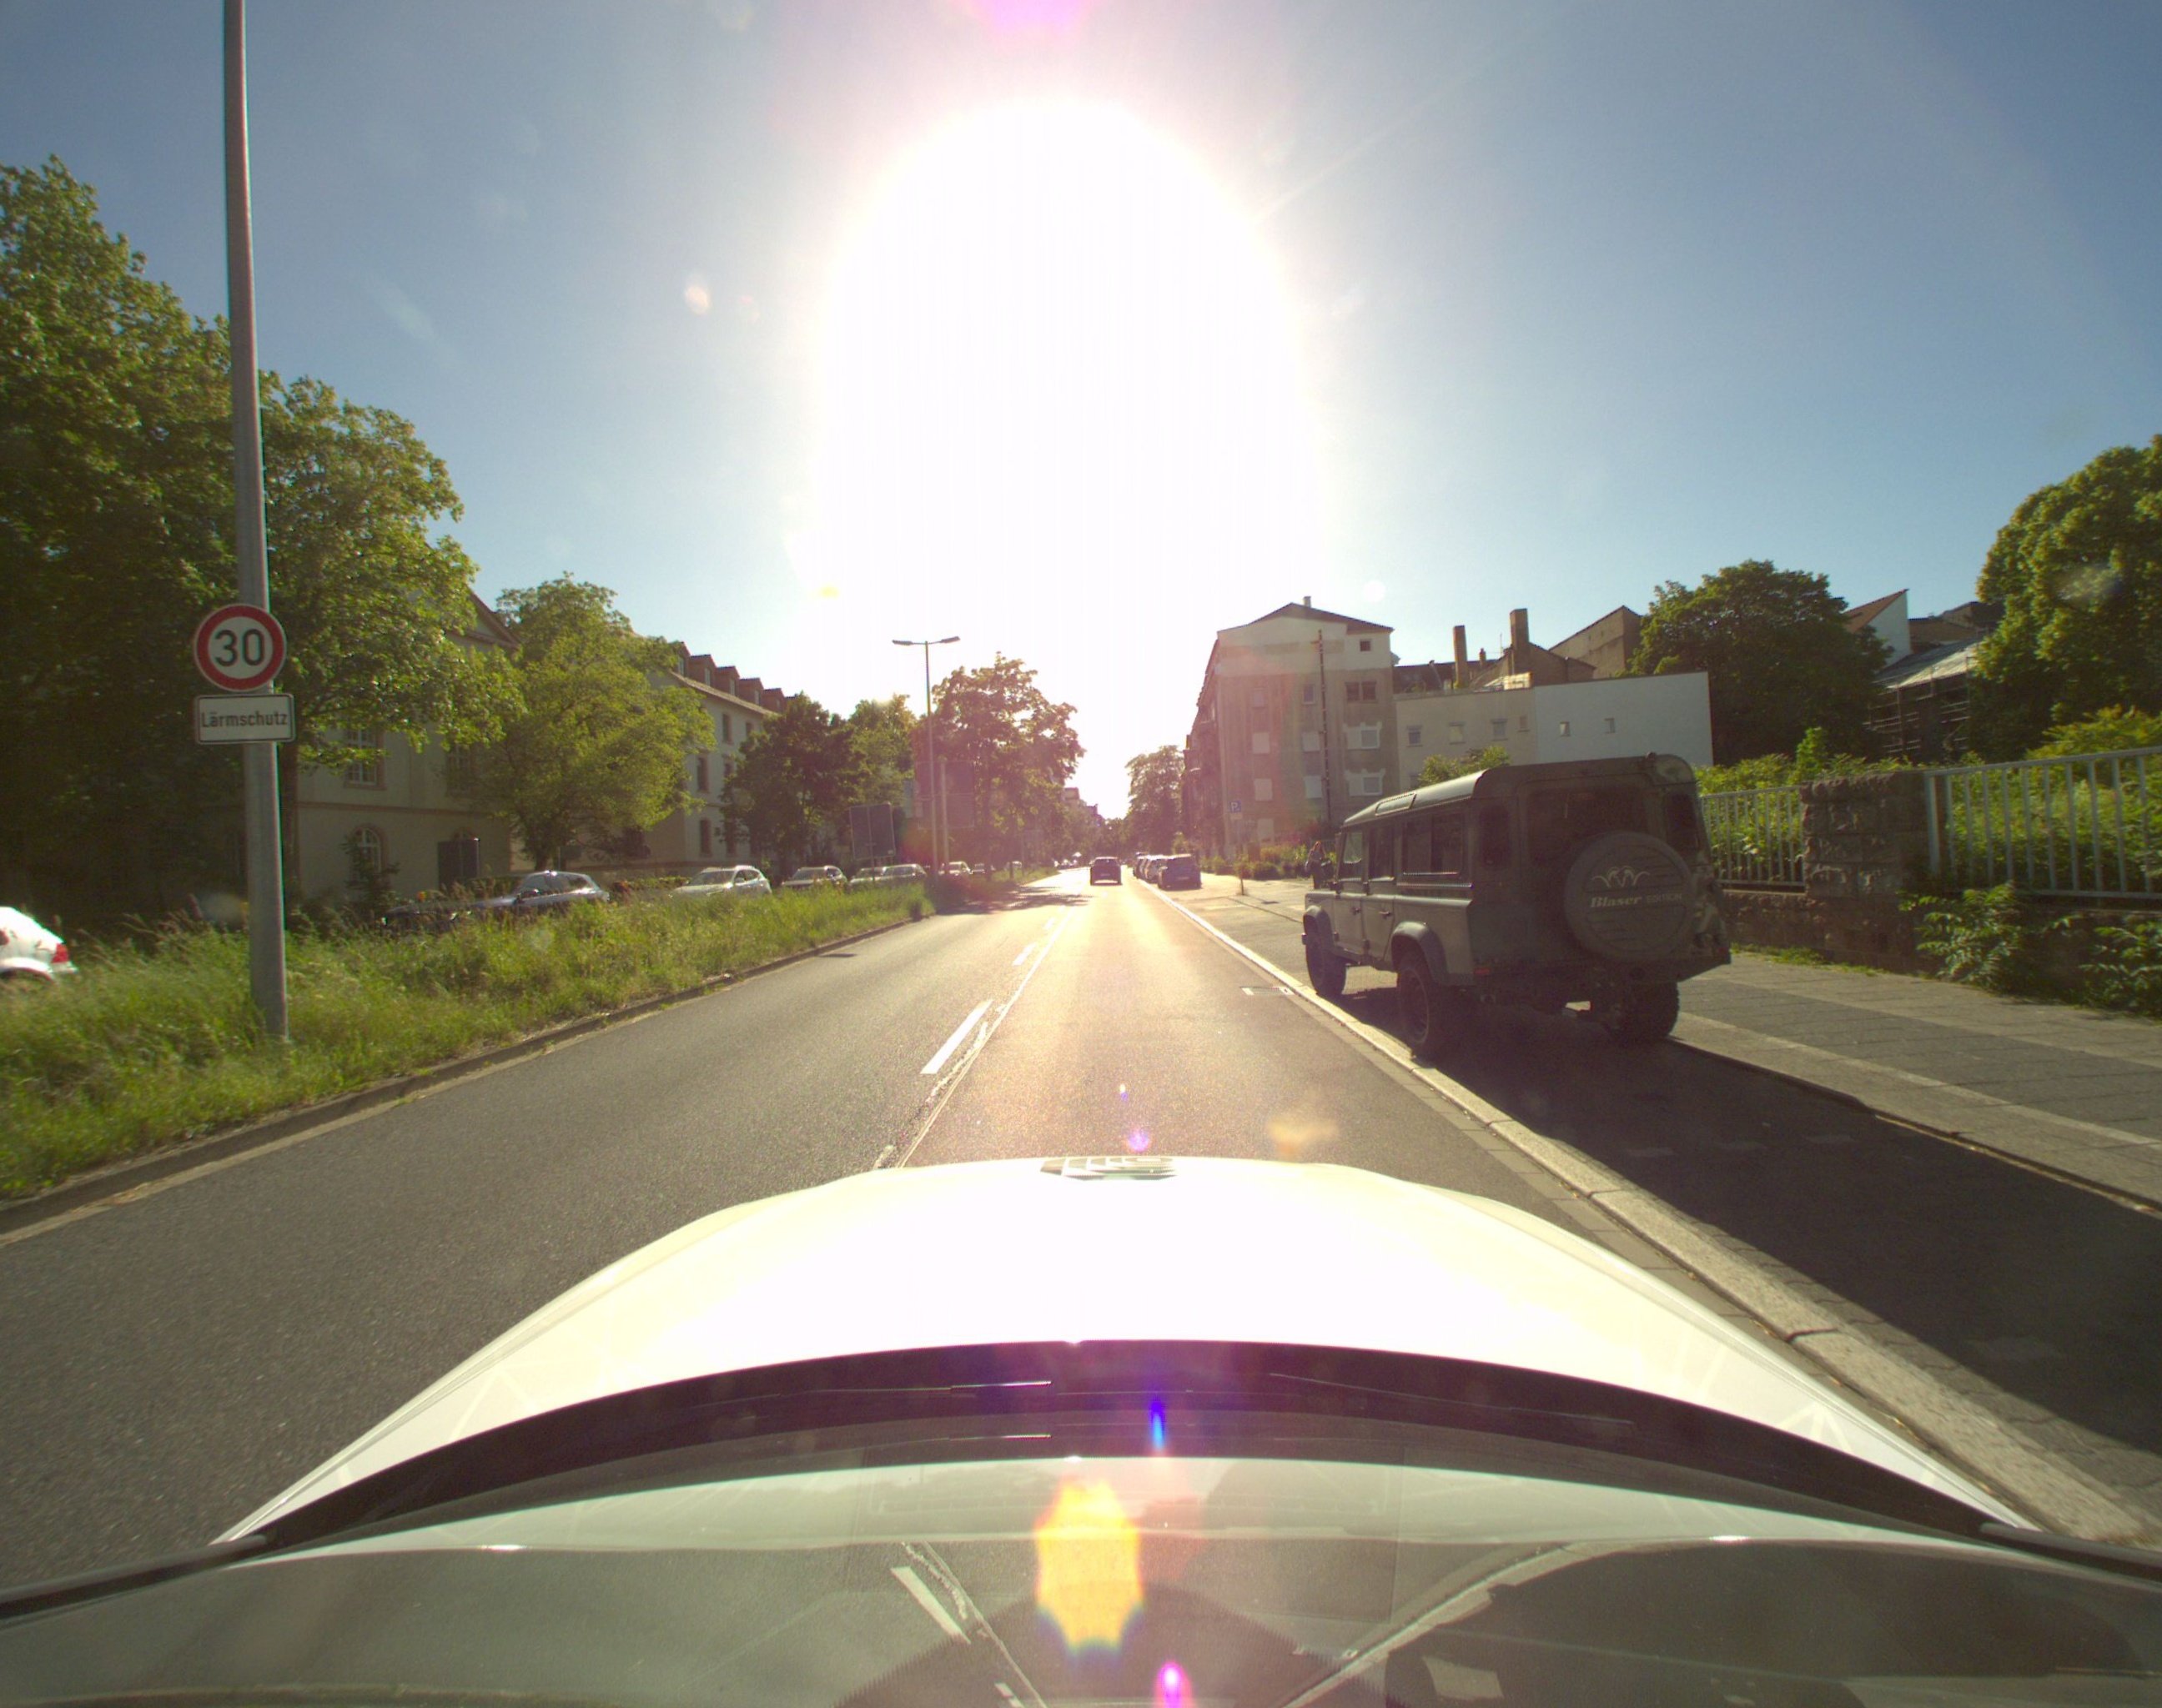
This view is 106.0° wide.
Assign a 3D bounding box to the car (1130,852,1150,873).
[{"bbox_3d":[5.630,0.818,77.244,1.811,1.844,4.370,-3,0,5],"label":"car"}]

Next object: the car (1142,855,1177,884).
[{"bbox_3d":[4.521,0.875,47.463,1.603,1.446,3.659,-6,0,1],"label":"car"}]

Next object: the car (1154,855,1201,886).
[{"bbox_3d":[4.436,0.722,37.848,1.662,1.182,3.901,-6,0,0],"label":"car"}]

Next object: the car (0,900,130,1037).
[{"bbox_3d":[-12.086,1.237,7.403,1.789,1.352,4.259,-2,0,1],"label":"car"}]

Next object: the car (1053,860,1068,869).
[{"bbox_3d":[-3.579,1.789,141.811,1.748,1.519,3.870,-3,0,10],"label":"car"}]

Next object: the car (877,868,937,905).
[{"bbox_3d":[-8.106,1.555,38.333,1.746,1.618,4.324,-1,-3,2],"label":"car"}]

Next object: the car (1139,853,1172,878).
[{"bbox_3d":[4.824,0.716,53.104,1.663,1.519,3.659,-3,0,-1],"label":"car"}]

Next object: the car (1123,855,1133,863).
[{"bbox_3d":[9.954,1.072,170.990,1.912,1.640,4.004,-3,0,4],"label":"car"}]

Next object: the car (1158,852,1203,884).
[{"bbox_3d":[5.132,0.694,42.511,1.663,1.460,3.983,-6,0,-2],"label":"car"}]

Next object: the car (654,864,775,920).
[{"bbox_3d":[-11.494,1.141,25.900,1.789,1.519,4.259,-2,0,1],"label":"car"}]

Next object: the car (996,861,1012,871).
[{"bbox_3d":[-13.724,2.221,144.344,1.980,1.662,3.976,-3,0,-18],"label":"car"}]

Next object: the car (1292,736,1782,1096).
[{"bbox_3d":[3.290,0.391,7.182,1.654,2.013,4.778,-4,-1,2],"label":"car"}]

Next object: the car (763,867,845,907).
[{"bbox_3d":[-11.314,1.349,33.610,1.789,1.519,4.259,-1,-2,2],"label":"car"}]

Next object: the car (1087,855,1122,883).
[{"bbox_3d":[1.313,0.850,46.911,1.889,1.519,3.998,0,0,-1],"label":"car"}]

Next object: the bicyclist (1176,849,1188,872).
[{"bbox_3d":[6.955,0.441,56.028,0.738,1.580,1.101,-2,1,4],"label":"bicyclist"}]

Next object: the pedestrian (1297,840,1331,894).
[{"bbox_3d":[7.137,0.386,24.979,0.740,1.583,0.897,-3,0,2],"label":"pedestrian"}]

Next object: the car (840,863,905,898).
[{"bbox_3d":[-10.518,1.301,41.471,1.831,1.519,4.670,-3,0,3],"label":"car"}]

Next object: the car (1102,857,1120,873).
[{"bbox_3d":[3.097,1.152,83.718,1.785,1.520,3.850,-1,-1,2],"label":"car"}]

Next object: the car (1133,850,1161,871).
[{"bbox_3d":[4.644,0.436,57.855,1.662,1.393,3.776,-3,0,1],"label":"car"}]

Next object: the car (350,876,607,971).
[{"bbox_3d":[-11.854,1.281,16.491,1.789,1.519,4.445,-2,-1,1],"label":"car"}]

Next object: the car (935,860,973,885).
[{"bbox_3d":[-9.187,1.319,59.137,1.894,1.626,4.537,-3,0,1],"label":"car"}]

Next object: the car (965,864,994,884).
[{"bbox_3d":[-8.563,1.673,69.153,1.789,1.519,4.087,-4,-1,1],"label":"car"}]
